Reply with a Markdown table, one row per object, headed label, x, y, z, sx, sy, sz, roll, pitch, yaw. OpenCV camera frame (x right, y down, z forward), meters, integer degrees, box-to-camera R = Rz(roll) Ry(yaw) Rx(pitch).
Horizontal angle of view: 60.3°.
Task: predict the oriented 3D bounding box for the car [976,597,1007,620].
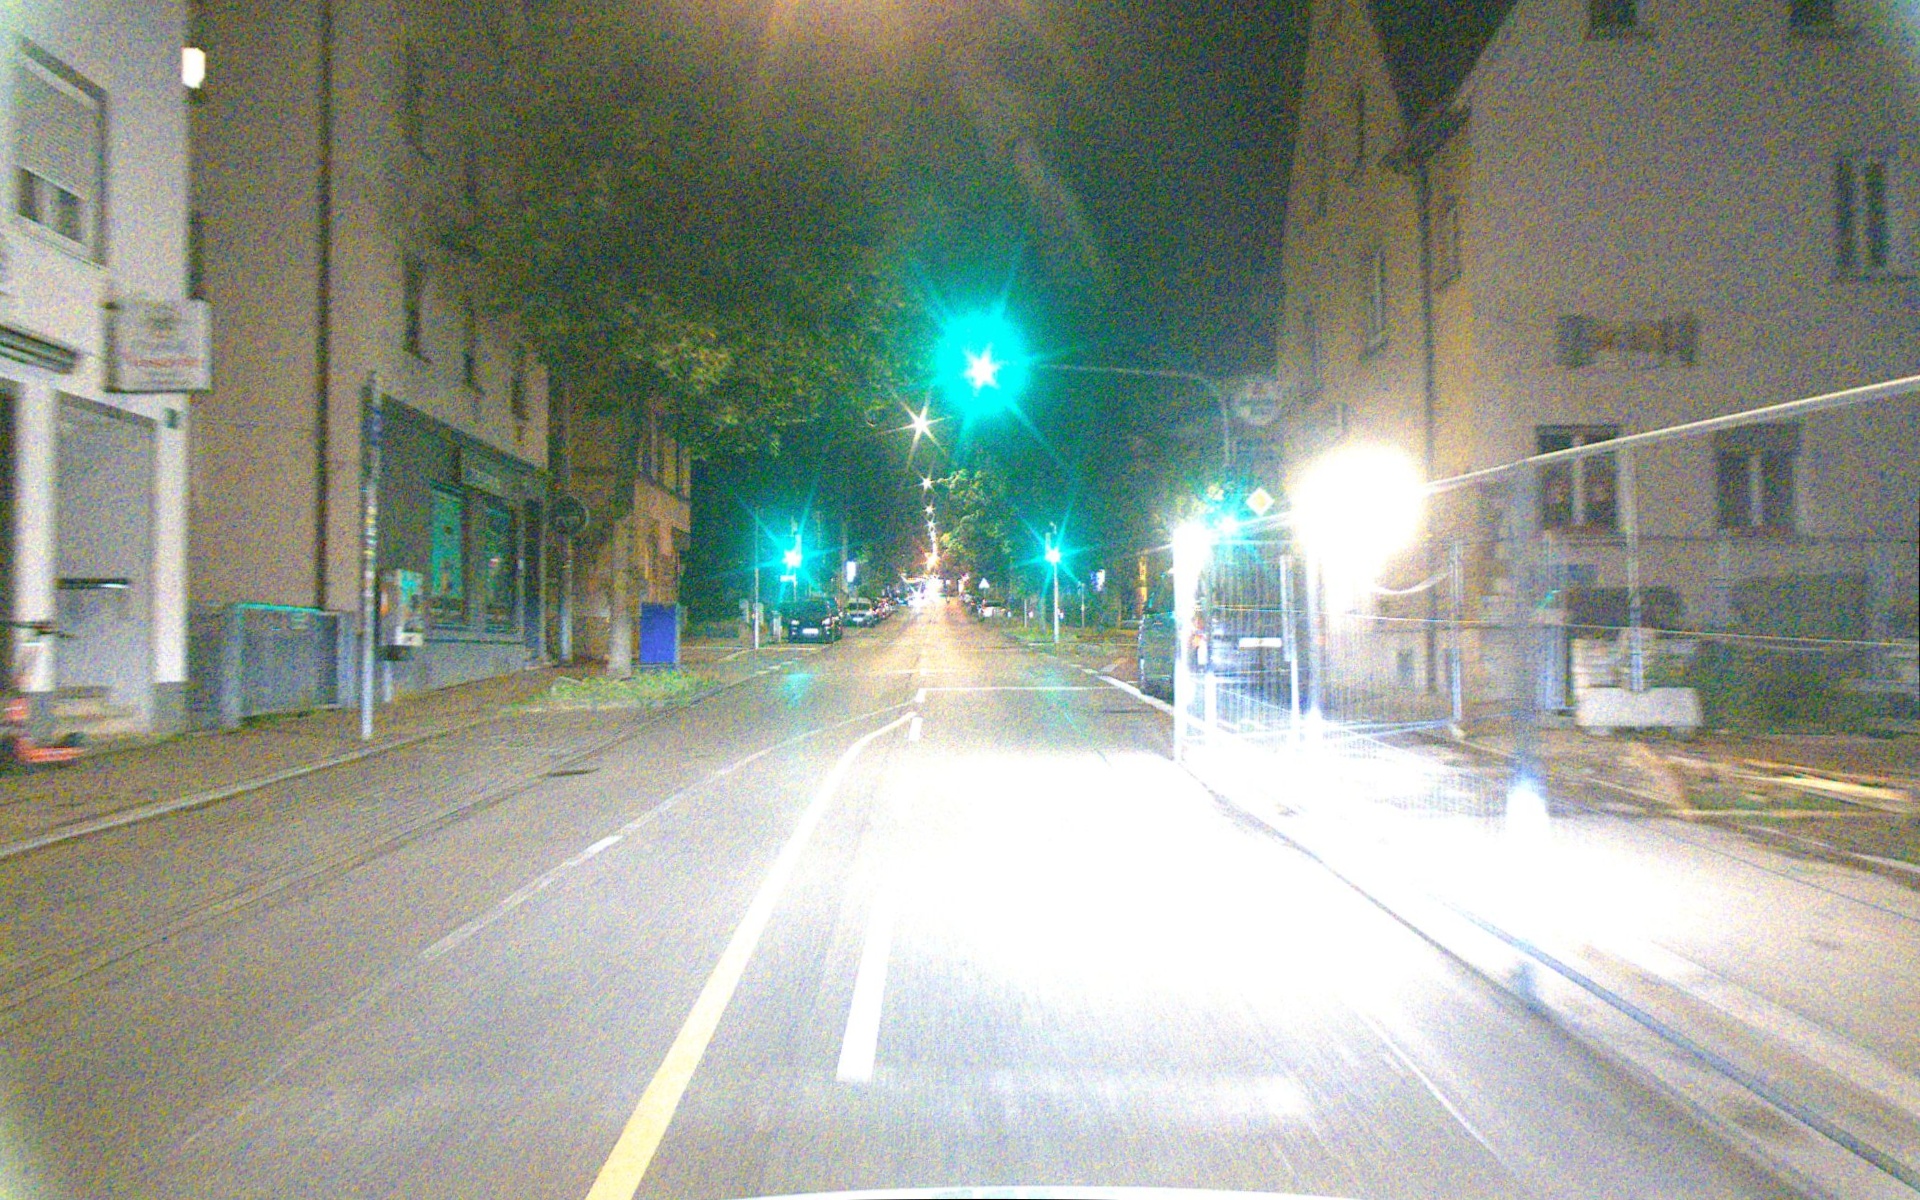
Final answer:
| label | x | y | z | sx | sy | sz | roll | pitch | yaw |
| --- | --- | --- | --- | --- | --- | --- | --- | --- | --- |
| car | 2.109 | 0.561 | 110.852 | 1.808 | 1.442 | 4.644 | -3 | 0 | -1 |

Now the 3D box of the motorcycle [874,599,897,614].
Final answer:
| label | x | y | z | sx | sy | sz | roll | pitch | yaw |
| --- | --- | --- | --- | --- | --- | --- | --- | --- | --- |
| motorcycle | -6.219 | 0.540 | 138.151 | 0.710 | 1.167 | 2.174 | -1 | 1 | -43 |

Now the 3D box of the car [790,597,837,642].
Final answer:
| label | x | y | z | sx | sy | sz | roll | pitch | yaw |
| --- | --- | --- | --- | --- | --- | --- | --- | --- | --- |
| car | -5.264 | 0.695 | 59.635 | 1.615 | 1.541 | 3.698 | 0 | 0 | -4 |

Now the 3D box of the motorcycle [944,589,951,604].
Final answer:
| label | x | y | z | sx | sy | sz | roll | pitch | yaw |
| --- | --- | --- | --- | --- | --- | --- | --- | --- | --- |
| motorcycle | -1.538 | -0.398 | 203.564 | 0.912 | 1.783 | 2.624 | 0 | 0 | -1 |

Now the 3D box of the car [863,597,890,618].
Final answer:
| label | x | y | z | sx | sy | sz | roll | pitch | yaw |
| --- | --- | --- | --- | --- | --- | --- | --- | --- | --- |
| car | -6.139 | 0.560 | 121.704 | 1.826 | 1.518 | 4.279 | 0 | 0 | -2 |

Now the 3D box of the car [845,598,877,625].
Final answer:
| label | x | y | z | sx | sy | sz | roll | pitch | yaw |
| --- | --- | --- | --- | --- | --- | --- | --- | --- | --- |
| car | -5.822 | 0.670 | 97.270 | 1.778 | 1.510 | 4.346 | 0 | 0 | -2 |

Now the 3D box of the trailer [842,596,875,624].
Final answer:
| label | x | y | z | sx | sy | sz | roll | pitch | yaw |
| --- | --- | --- | --- | --- | --- | --- | --- | --- | --- |
| trailer | -6.216 | 0.628 | 101.901 | 1.603 | 1.668 | 3.440 | 0 | 0 | 4 |

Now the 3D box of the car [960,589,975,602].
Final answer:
| label | x | y | z | sx | sy | sz | roll | pitch | yaw |
| --- | --- | --- | --- | --- | --- | --- | --- | --- | --- |
| car | 0.914 | -0.591 | 211.449 | 1.831 | 1.553 | 4.149 | -2 | 1 | -1 |

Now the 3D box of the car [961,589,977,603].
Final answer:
| label | x | y | z | sx | sy | sz | roll | pitch | yaw |
| --- | --- | --- | --- | --- | --- | --- | --- | --- | --- |
| car | 1.050 | -0.476 | 198.087 | 1.775 | 1.621 | 4.273 | -2 | 1 | -1 |

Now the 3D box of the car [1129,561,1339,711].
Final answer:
| label | x | y | z | sx | sy | sz | roll | pitch | yaw |
| --- | --- | --- | --- | --- | --- | --- | --- | --- | --- |
| car | 3.685 | 0.445 | 23.171 | 1.873 | 1.859 | 4.897 | -1 | 0 | -3 |

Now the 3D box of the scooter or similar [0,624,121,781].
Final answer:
| label | x | y | z | sx | sy | sz | roll | pitch | yaw |
| --- | --- | --- | --- | --- | --- | --- | --- | --- | --- |
| scooter or similar | -7.579 | 0.830 | 13.912 | 0.324 | 1.247 | 1.335 | 0 | -1 | 1 |

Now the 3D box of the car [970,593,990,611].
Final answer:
| label | x | y | z | sx | sy | sz | roll | pitch | yaw |
| --- | --- | --- | --- | --- | --- | --- | --- | --- | --- |
| car | 1.785 | 0.199 | 149.290 | 1.727 | 1.501 | 4.080 | -2 | 1 | 0 |

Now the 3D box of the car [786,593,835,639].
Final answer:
| label | x | y | z | sx | sy | sz | roll | pitch | yaw |
| --- | --- | --- | --- | --- | --- | --- | --- | --- | --- |
| car | -5.861 | 0.605 | 65.257 | 1.812 | 1.679 | 4.668 | 1 | 1 | -4 |

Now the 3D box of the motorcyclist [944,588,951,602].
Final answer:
| label | x | y | z | sx | sy | sz | roll | pitch | yaw |
| --- | --- | --- | --- | --- | --- | --- | --- | --- | --- |
| motorcyclist | -1.539 | -0.628 | 203.569 | 0.831 | 1.783 | 0.805 | 0 | -1 | -1 |

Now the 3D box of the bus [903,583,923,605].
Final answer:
| label | x | y | z | sx | sy | sz | roll | pitch | yaw |
| --- | --- | --- | --- | --- | --- | --- | --- | --- | --- |
| bus | -6.928 | -0.907 | 246.069 | 2.780 | 3.233 | 10.497 | 0 | 1 | -1 |
